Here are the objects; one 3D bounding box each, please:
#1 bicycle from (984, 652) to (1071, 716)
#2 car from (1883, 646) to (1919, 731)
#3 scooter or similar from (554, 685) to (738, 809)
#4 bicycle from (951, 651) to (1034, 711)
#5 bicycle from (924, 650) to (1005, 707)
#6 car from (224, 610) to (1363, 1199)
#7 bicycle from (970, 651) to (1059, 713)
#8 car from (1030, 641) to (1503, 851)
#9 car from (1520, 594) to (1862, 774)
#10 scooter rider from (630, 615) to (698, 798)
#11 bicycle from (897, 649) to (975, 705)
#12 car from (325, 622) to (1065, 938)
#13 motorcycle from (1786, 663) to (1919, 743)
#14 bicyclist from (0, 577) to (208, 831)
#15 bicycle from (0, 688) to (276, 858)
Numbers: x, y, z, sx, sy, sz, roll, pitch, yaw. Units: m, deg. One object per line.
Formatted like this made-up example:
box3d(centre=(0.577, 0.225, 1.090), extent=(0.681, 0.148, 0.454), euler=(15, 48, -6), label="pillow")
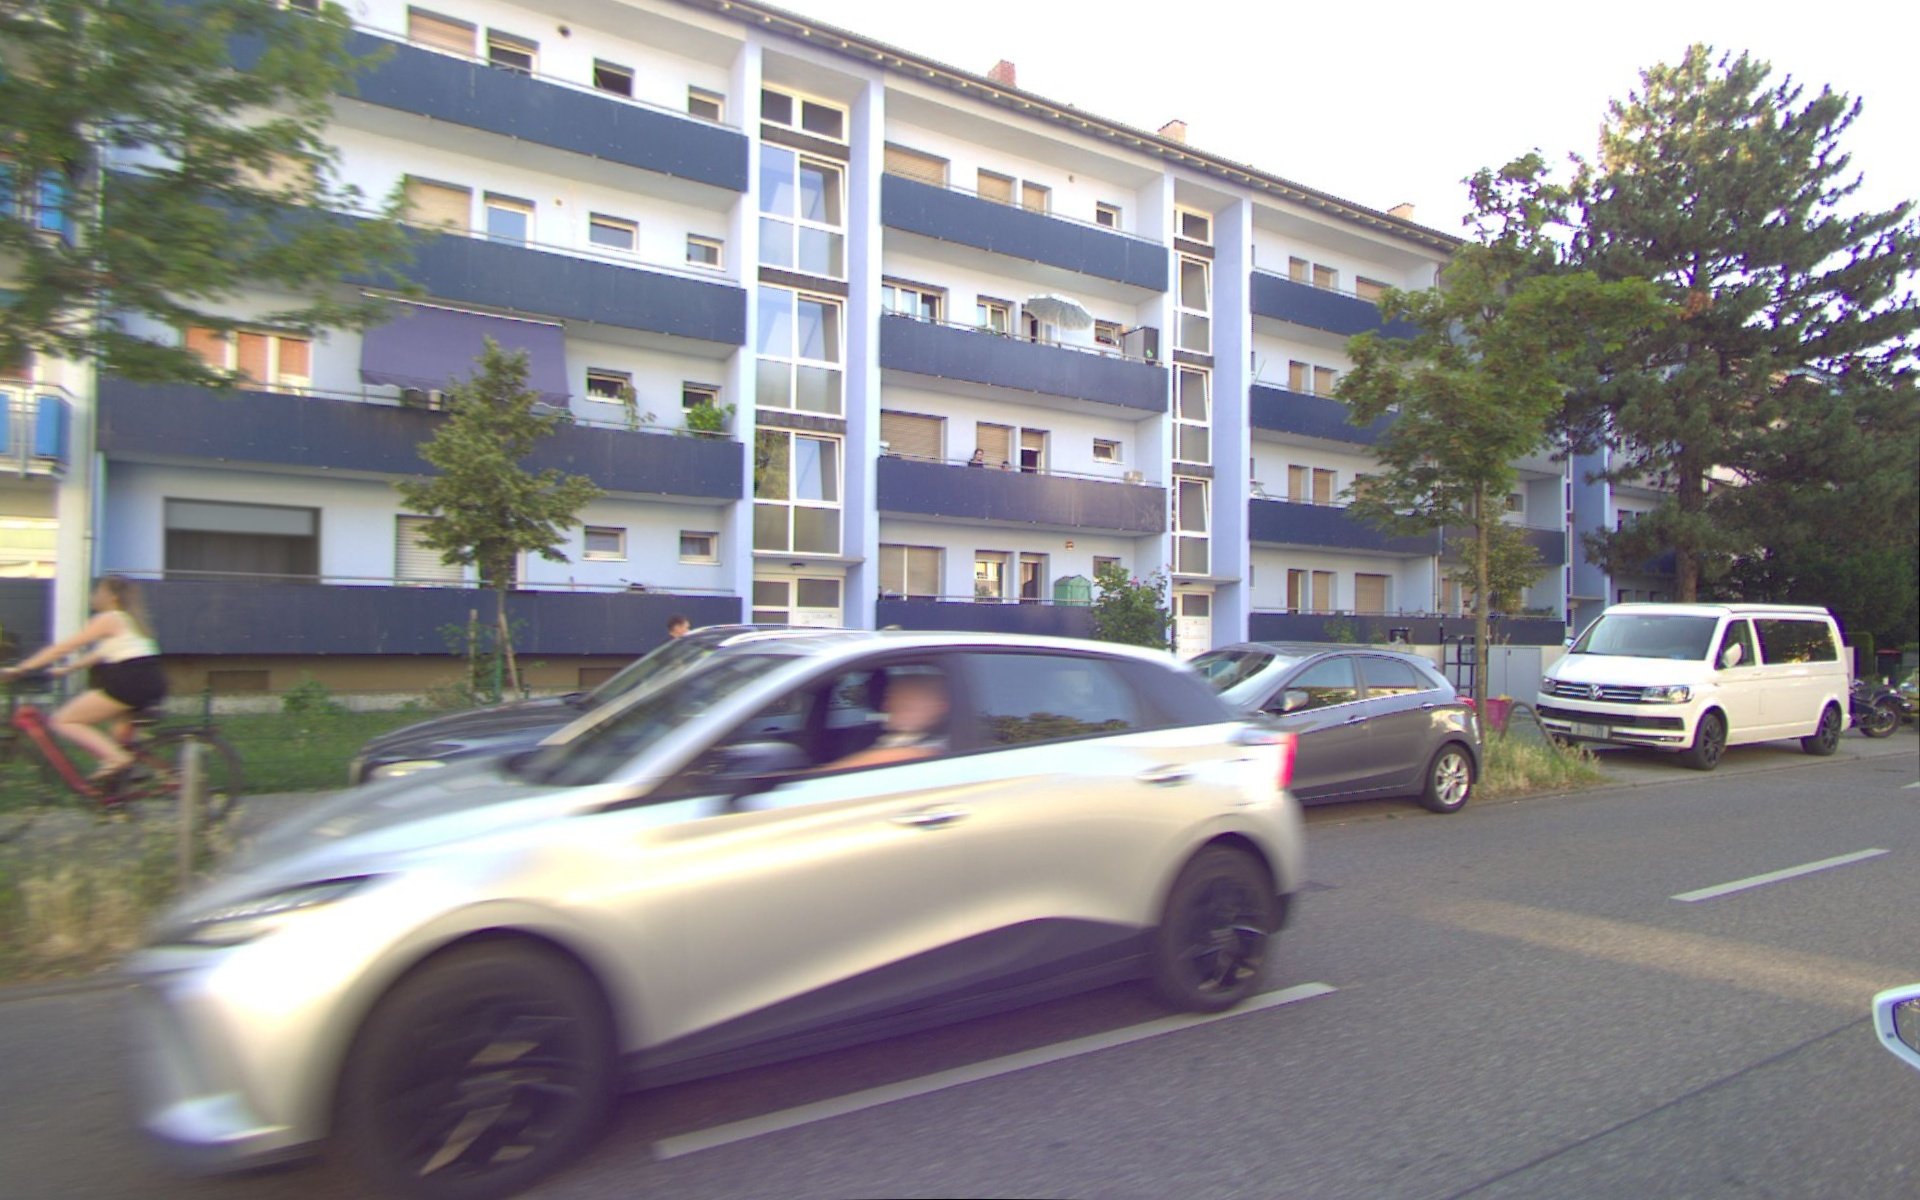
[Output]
box3d(centre=(1.149, 1.395, 16.919), extent=(1.459, 1.028, 0.436), euler=(1, -3, -29), label="bicycle")
box3d(centre=(19.024, 1.645, 18.638), extent=(3.823, 1.500, 1.612), euler=(2, 0, -28), label="car")
box3d(centre=(-2.896, 1.326, 9.301), extent=(1.568, 1.028, 0.462), euler=(1, -2, -26), label="scooter or similar")
box3d(centre=(0.581, 1.425, 17.857), extent=(1.459, 1.028, 0.436), euler=(1, -3, -29), label="bicycle")
box3d(centre=(0.090, 1.434, 18.640), extent=(1.463, 1.028, 0.436), euler=(1, -3, -29), label="bicycle")
box3d(centre=(-0.419, 0.906, 4.055), extent=(3.926, 1.513, 1.773), euler=(2, -5, -32), label="car")
box3d(centre=(0.949, 1.403, 17.331), extent=(1.554, 1.028, 0.436), euler=(2, -3, -29), label="bicycle")
box3d(centre=(2.812, 1.146, 9.047), extent=(4.091, 1.503, 1.686), euler=(2, -2, -28), label="car")
box3d(centre=(10.041, 1.033, 13.662), extent=(5.239, 2.058, 1.859), euler=(2, -1, -31), label="car")
box3d(centre=(-2.767, 0.971, 9.374), extent=(0.527, 1.652, 0.462), euler=(1, -2, -26), label="scooter rider")
box3d(centre=(-0.448, 1.463, 19.287), extent=(1.459, 1.028, 0.436), euler=(1, -3, -29), label="bicycle")
box3d(centre=(-1.584, 0.969, 6.795), extent=(4.418, 1.563, 1.665), euler=(2, -2, -28), label="car")
box3d(centre=(14.512, 1.624, 16.036), extent=(2.289, 1.220, 0.660), euler=(0, -2, -9), label="motorcycle")
box3d(centre=(-5.813, 0.677, 6.851), extent=(0.926, 1.614, 0.602), euler=(1, -2, -22), label="bicyclist")
box3d(centre=(-5.874, 1.138, 6.809), extent=(1.924, 1.028, 0.619), euler=(1, -2, -23), label="bicycle")
